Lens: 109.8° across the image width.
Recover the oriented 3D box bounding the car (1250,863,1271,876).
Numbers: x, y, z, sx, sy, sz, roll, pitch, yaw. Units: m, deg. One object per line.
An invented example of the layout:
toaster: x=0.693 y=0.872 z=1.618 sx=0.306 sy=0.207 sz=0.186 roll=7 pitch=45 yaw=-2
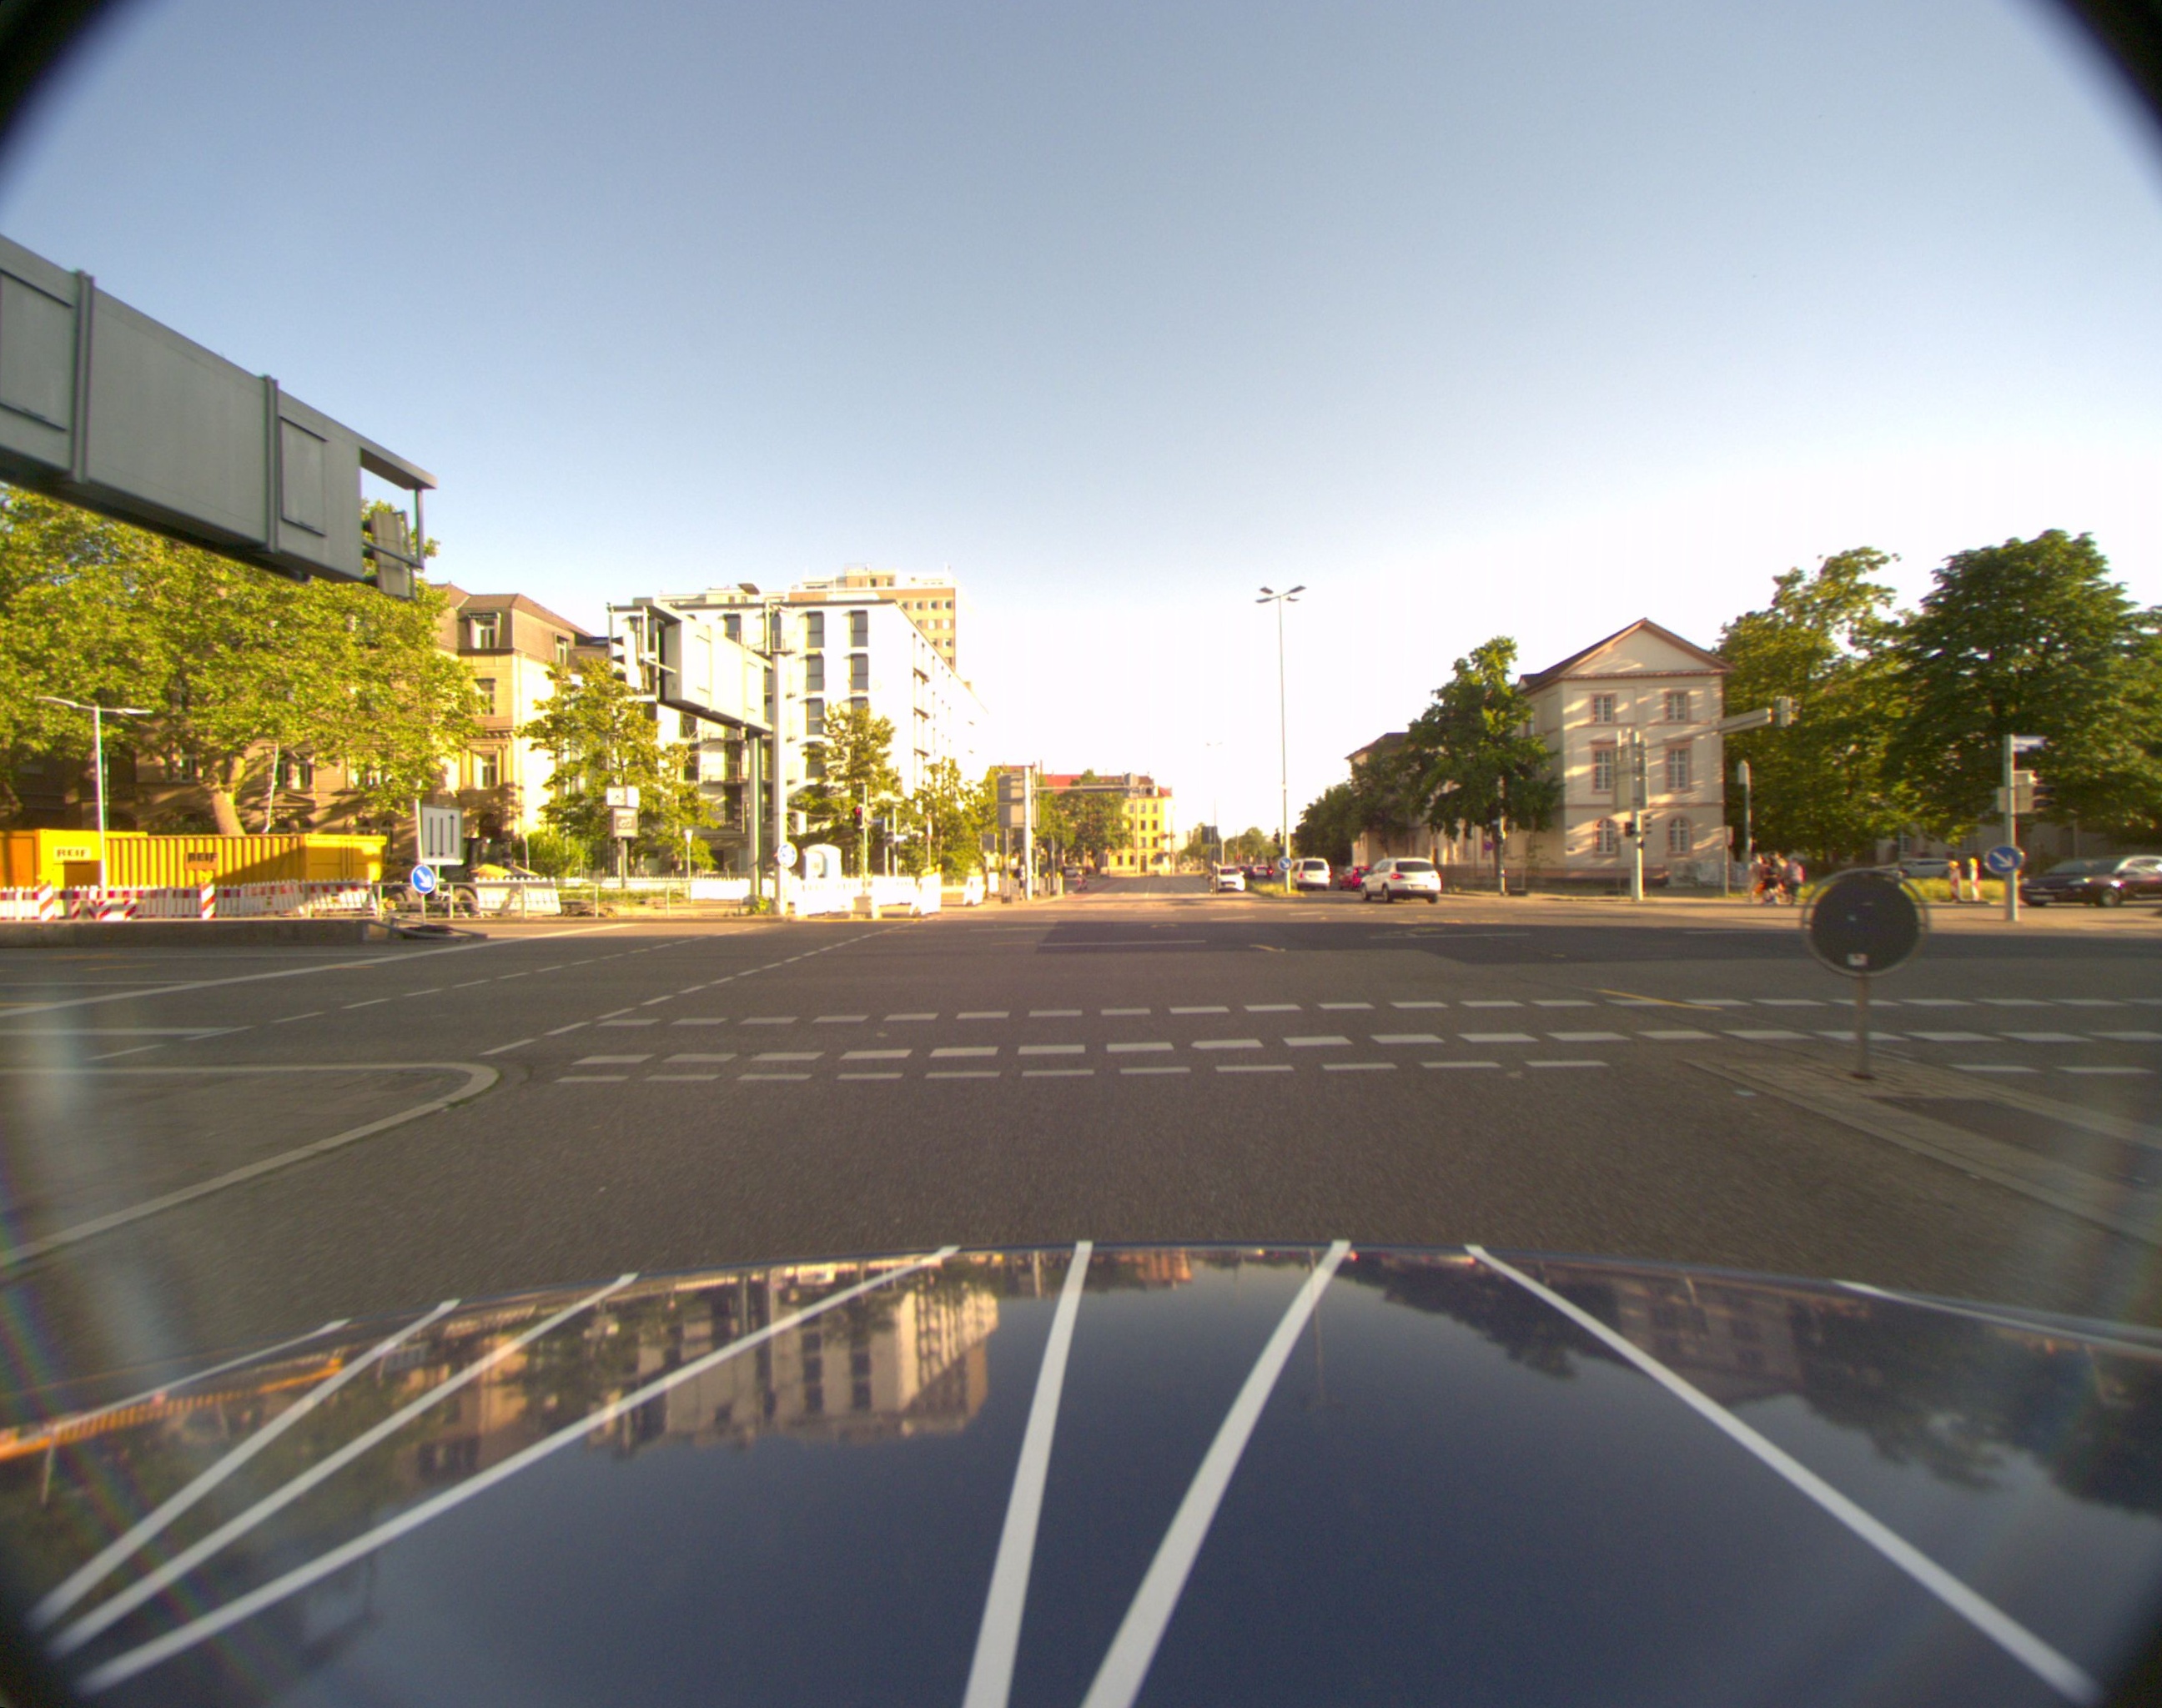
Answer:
car: x=20.738 y=1.758 z=88.005 sx=1.764 sy=1.454 sz=4.294 roll=-1 pitch=-1 yaw=4

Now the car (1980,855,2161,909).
car: x=28.833 y=0.779 z=21.799 sx=3.644 sy=1.437 sz=2.000 roll=-1 pitch=0 yaw=2

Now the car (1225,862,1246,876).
car: x=17.413 y=1.675 z=85.840 sx=1.764 sy=1.454 sz=4.294 roll=-1 pitch=-1 yaw=4

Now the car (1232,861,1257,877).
car: x=15.478 y=1.430 z=71.949 sx=1.764 sy=1.454 sz=4.294 roll=-1 pitch=-1 yaw=4

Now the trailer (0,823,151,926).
trailer: x=-33.192 y=0.655 z=23.557 sx=6.123 sy=2.997 sz=2.408 roll=-1 pitch=0 yaw=4

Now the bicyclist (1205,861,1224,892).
bicyclist: x=6.876 y=1.153 z=39.221 sx=0.838 sy=1.594 sz=1.024 roll=-1 pitch=0 yaw=4

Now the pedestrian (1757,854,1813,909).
pedestrian: x=24.223 y=0.935 z=26.162 sx=0.820 sy=1.838 sz=1.170 roll=-1 pitch=0 yaw=-2

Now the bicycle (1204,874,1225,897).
bicycle: x=6.854 y=1.606 z=39.148 sx=0.833 sy=1.101 sz=2.081 roll=-1 pitch=-1 yaw=4

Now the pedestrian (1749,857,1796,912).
pedestrian: x=21.321 y=0.931 z=23.450 sx=0.621 sy=1.641 sz=0.890 roll=-1 pitch=0 yaw=-2

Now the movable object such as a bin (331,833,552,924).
movable object such as a bin: x=-19.304 y=0.739 z=23.077 sx=5.209 sy=2.578 sz=2.001 roll=-1 pitch=0 yaw=5

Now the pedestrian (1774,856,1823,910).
pedestrian: x=22.275 y=0.876 z=23.605 sx=0.678 sy=1.641 sz=0.883 roll=-1 pitch=0 yaw=-2

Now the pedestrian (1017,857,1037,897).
pedestrian: x=-2.591 y=1.098 z=36.552 sx=0.576 sy=1.866 sz=0.711 roll=-1 pitch=0 yaw=44

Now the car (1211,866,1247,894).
car: x=8.473 y=1.480 z=43.712 sx=1.764 sy=1.489 sz=3.710 roll=-1 pitch=-1 yaw=6

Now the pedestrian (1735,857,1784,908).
pedestrian: x=23.380 y=0.973 z=26.185 sx=0.678 sy=1.698 sz=1.084 roll=-1 pitch=0 yaw=-2

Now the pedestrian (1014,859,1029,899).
pedestrian: x=-2.783 y=1.162 z=35.546 sx=0.500 sy=1.866 sz=0.601 roll=-1 pitch=0 yaw=-23

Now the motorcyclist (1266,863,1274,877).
motorcyclist: x=19.049 y=1.646 z=76.722 sx=0.620 sy=1.398 sz=0.756 roll=-1 pitch=0 yaw=2

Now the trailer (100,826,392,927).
trailer: x=-25.387 y=0.656 z=23.315 sx=6.125 sy=2.850 sz=2.542 roll=-1 pitch=0 yaw=0

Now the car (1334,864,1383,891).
car: x=16.022 y=1.348 z=44.041 sx=1.711 sy=1.469 sz=3.814 roll=-1 pitch=-1 yaw=5

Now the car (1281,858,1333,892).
car: x=13.087 y=1.186 z=44.275 sx=1.832 sy=1.836 sz=4.948 roll=-1 pitch=-1 yaw=3

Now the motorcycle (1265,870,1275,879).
motorcycle: x=19.038 y=2.073 z=76.564 sx=0.640 sy=0.874 sz=2.162 roll=-1 pitch=-1 yaw=2

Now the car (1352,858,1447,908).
car: x=11.798 y=1.014 z=28.446 sx=1.832 sy=1.696 sz=4.442 roll=-1 pitch=-1 yaw=2
